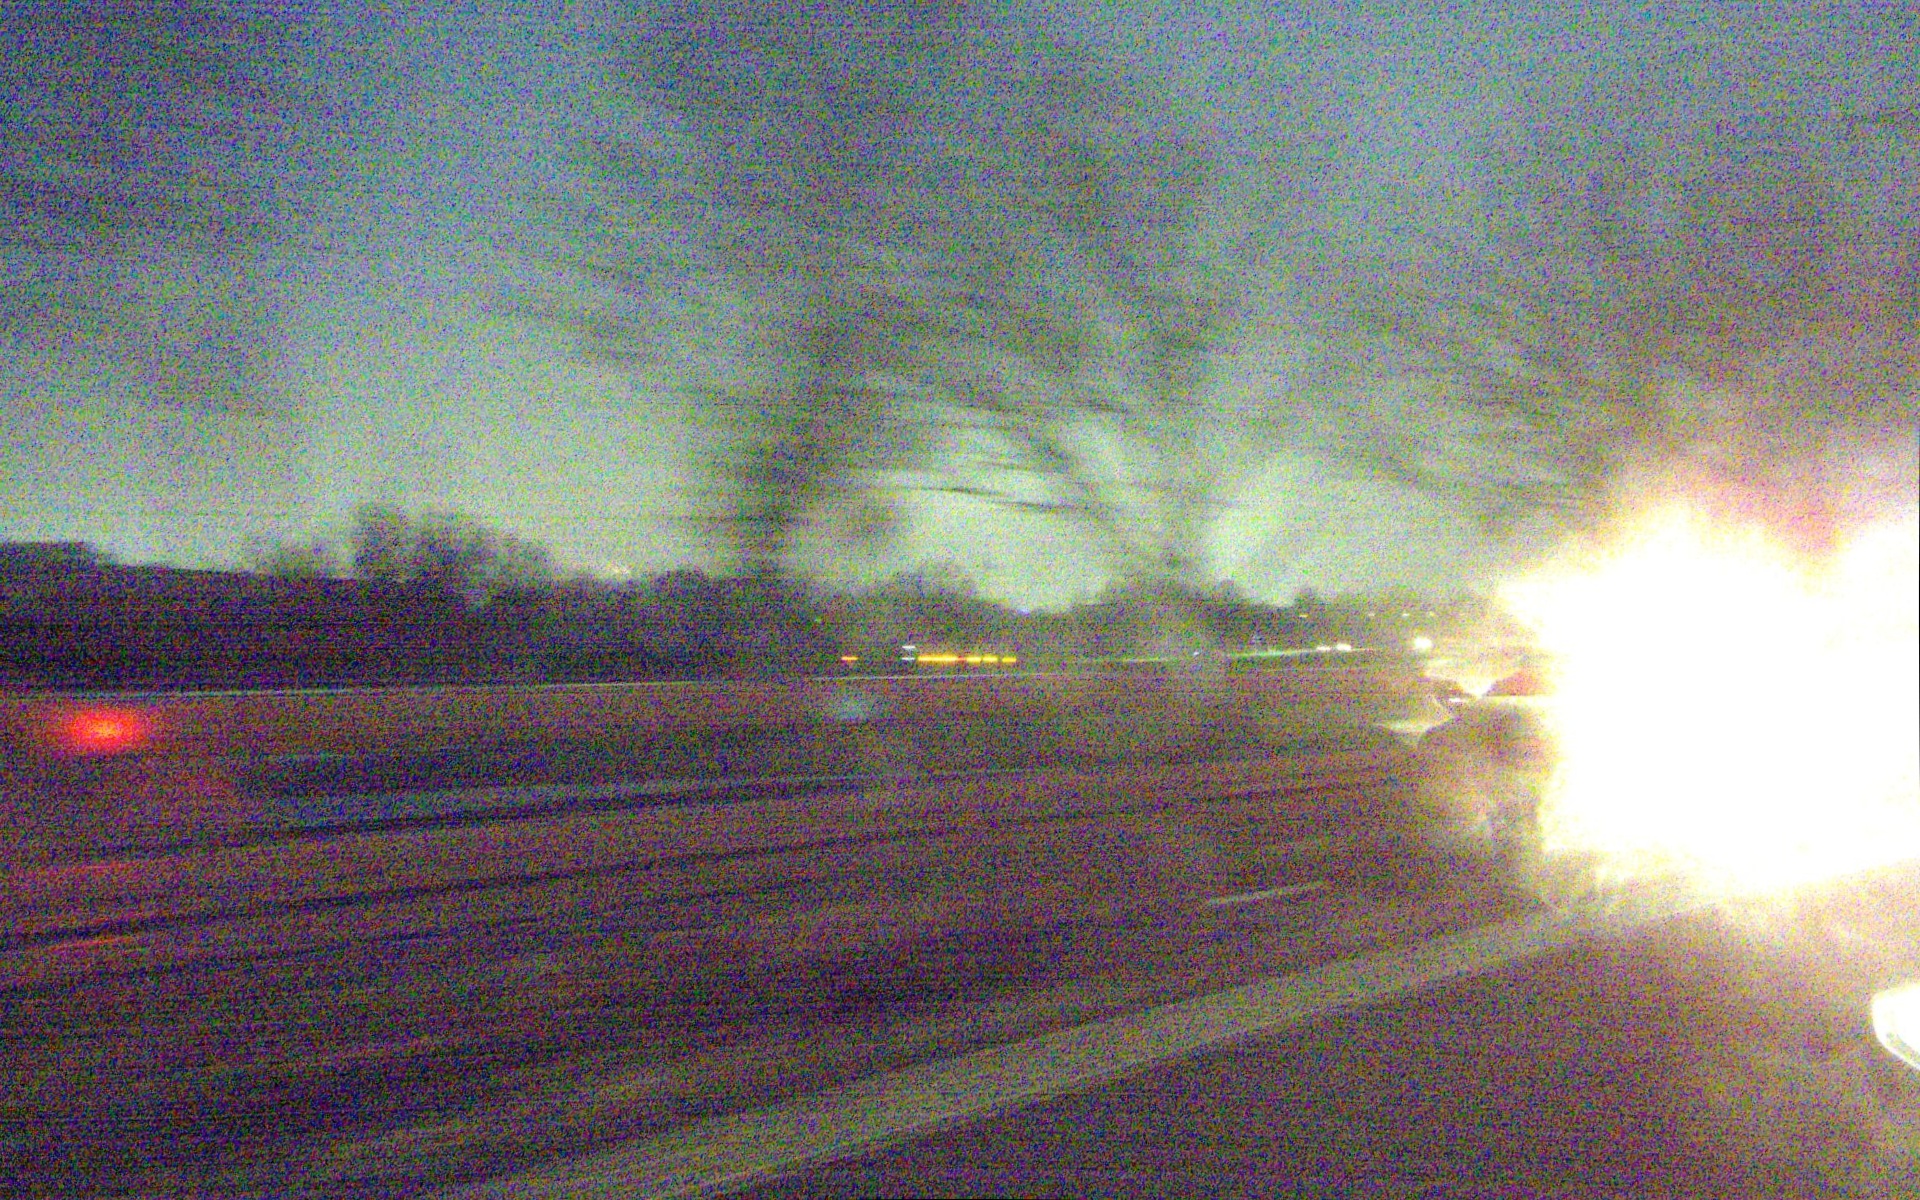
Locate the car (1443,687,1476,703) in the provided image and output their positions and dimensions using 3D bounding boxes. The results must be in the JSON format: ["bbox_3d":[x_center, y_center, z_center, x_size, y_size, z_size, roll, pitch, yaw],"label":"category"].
[{"bbox_3d":[49.016,9.305,98.597,1.710,1.444,4.104,1,-3,9],"label":"car"}]
